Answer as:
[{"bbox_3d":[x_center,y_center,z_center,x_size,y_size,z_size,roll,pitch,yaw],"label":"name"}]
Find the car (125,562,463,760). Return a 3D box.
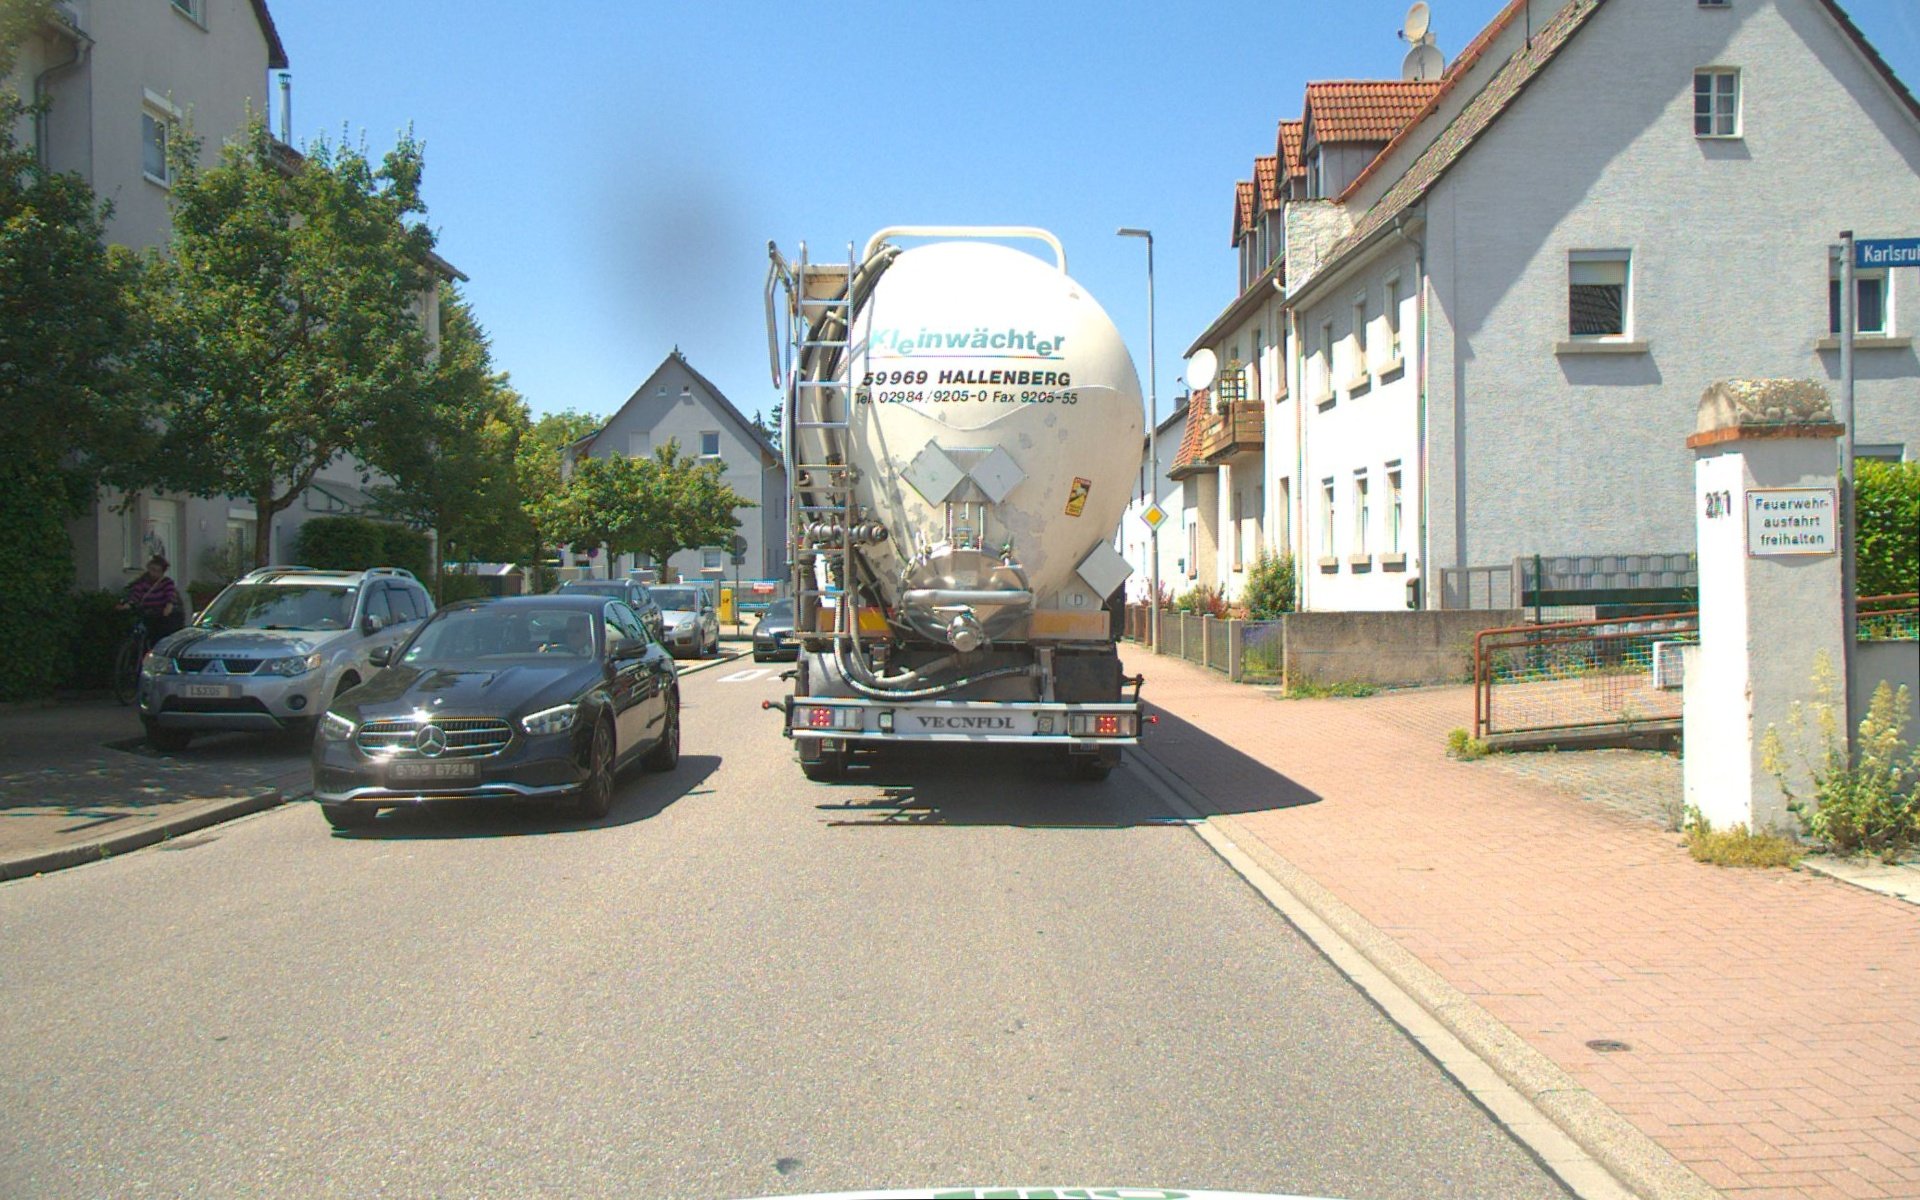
[{"bbox_3d":[-6.466,0.509,16.628,1.672,1.716,4.524,0,1,-2],"label":"car"}]

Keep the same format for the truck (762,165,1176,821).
[{"bbox_3d":[-0.093,-0.718,15.145,2.588,4.086,9.558,0,1,-2],"label":"truck"}]

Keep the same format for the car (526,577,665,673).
[{"bbox_3d":[-6.600,0.407,30.322,1.657,1.648,3.997,0,0,0],"label":"car"}]

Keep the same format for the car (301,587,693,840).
[{"bbox_3d":[-3.183,0.667,12.382,1.695,1.485,4.693,-1,1,-2],"label":"car"}]

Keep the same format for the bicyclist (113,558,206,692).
[{"bbox_3d":[-9.411,0.283,19.474,0.645,1.520,0.908,2,0,-5],"label":"bicyclist"}]

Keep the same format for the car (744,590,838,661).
[{"bbox_3d":[-3.715,0.533,36.815,1.671,1.394,3.868,-3,1,-1],"label":"car"}]

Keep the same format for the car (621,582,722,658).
[{"bbox_3d":[-6.424,0.407,37.137,1.663,1.608,3.837,0,0,-1],"label":"car"}]

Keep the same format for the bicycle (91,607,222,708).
[{"bbox_3d":[-9.429,0.649,19.501,0.658,1.074,2.024,2,0,-5],"label":"bicycle"}]
